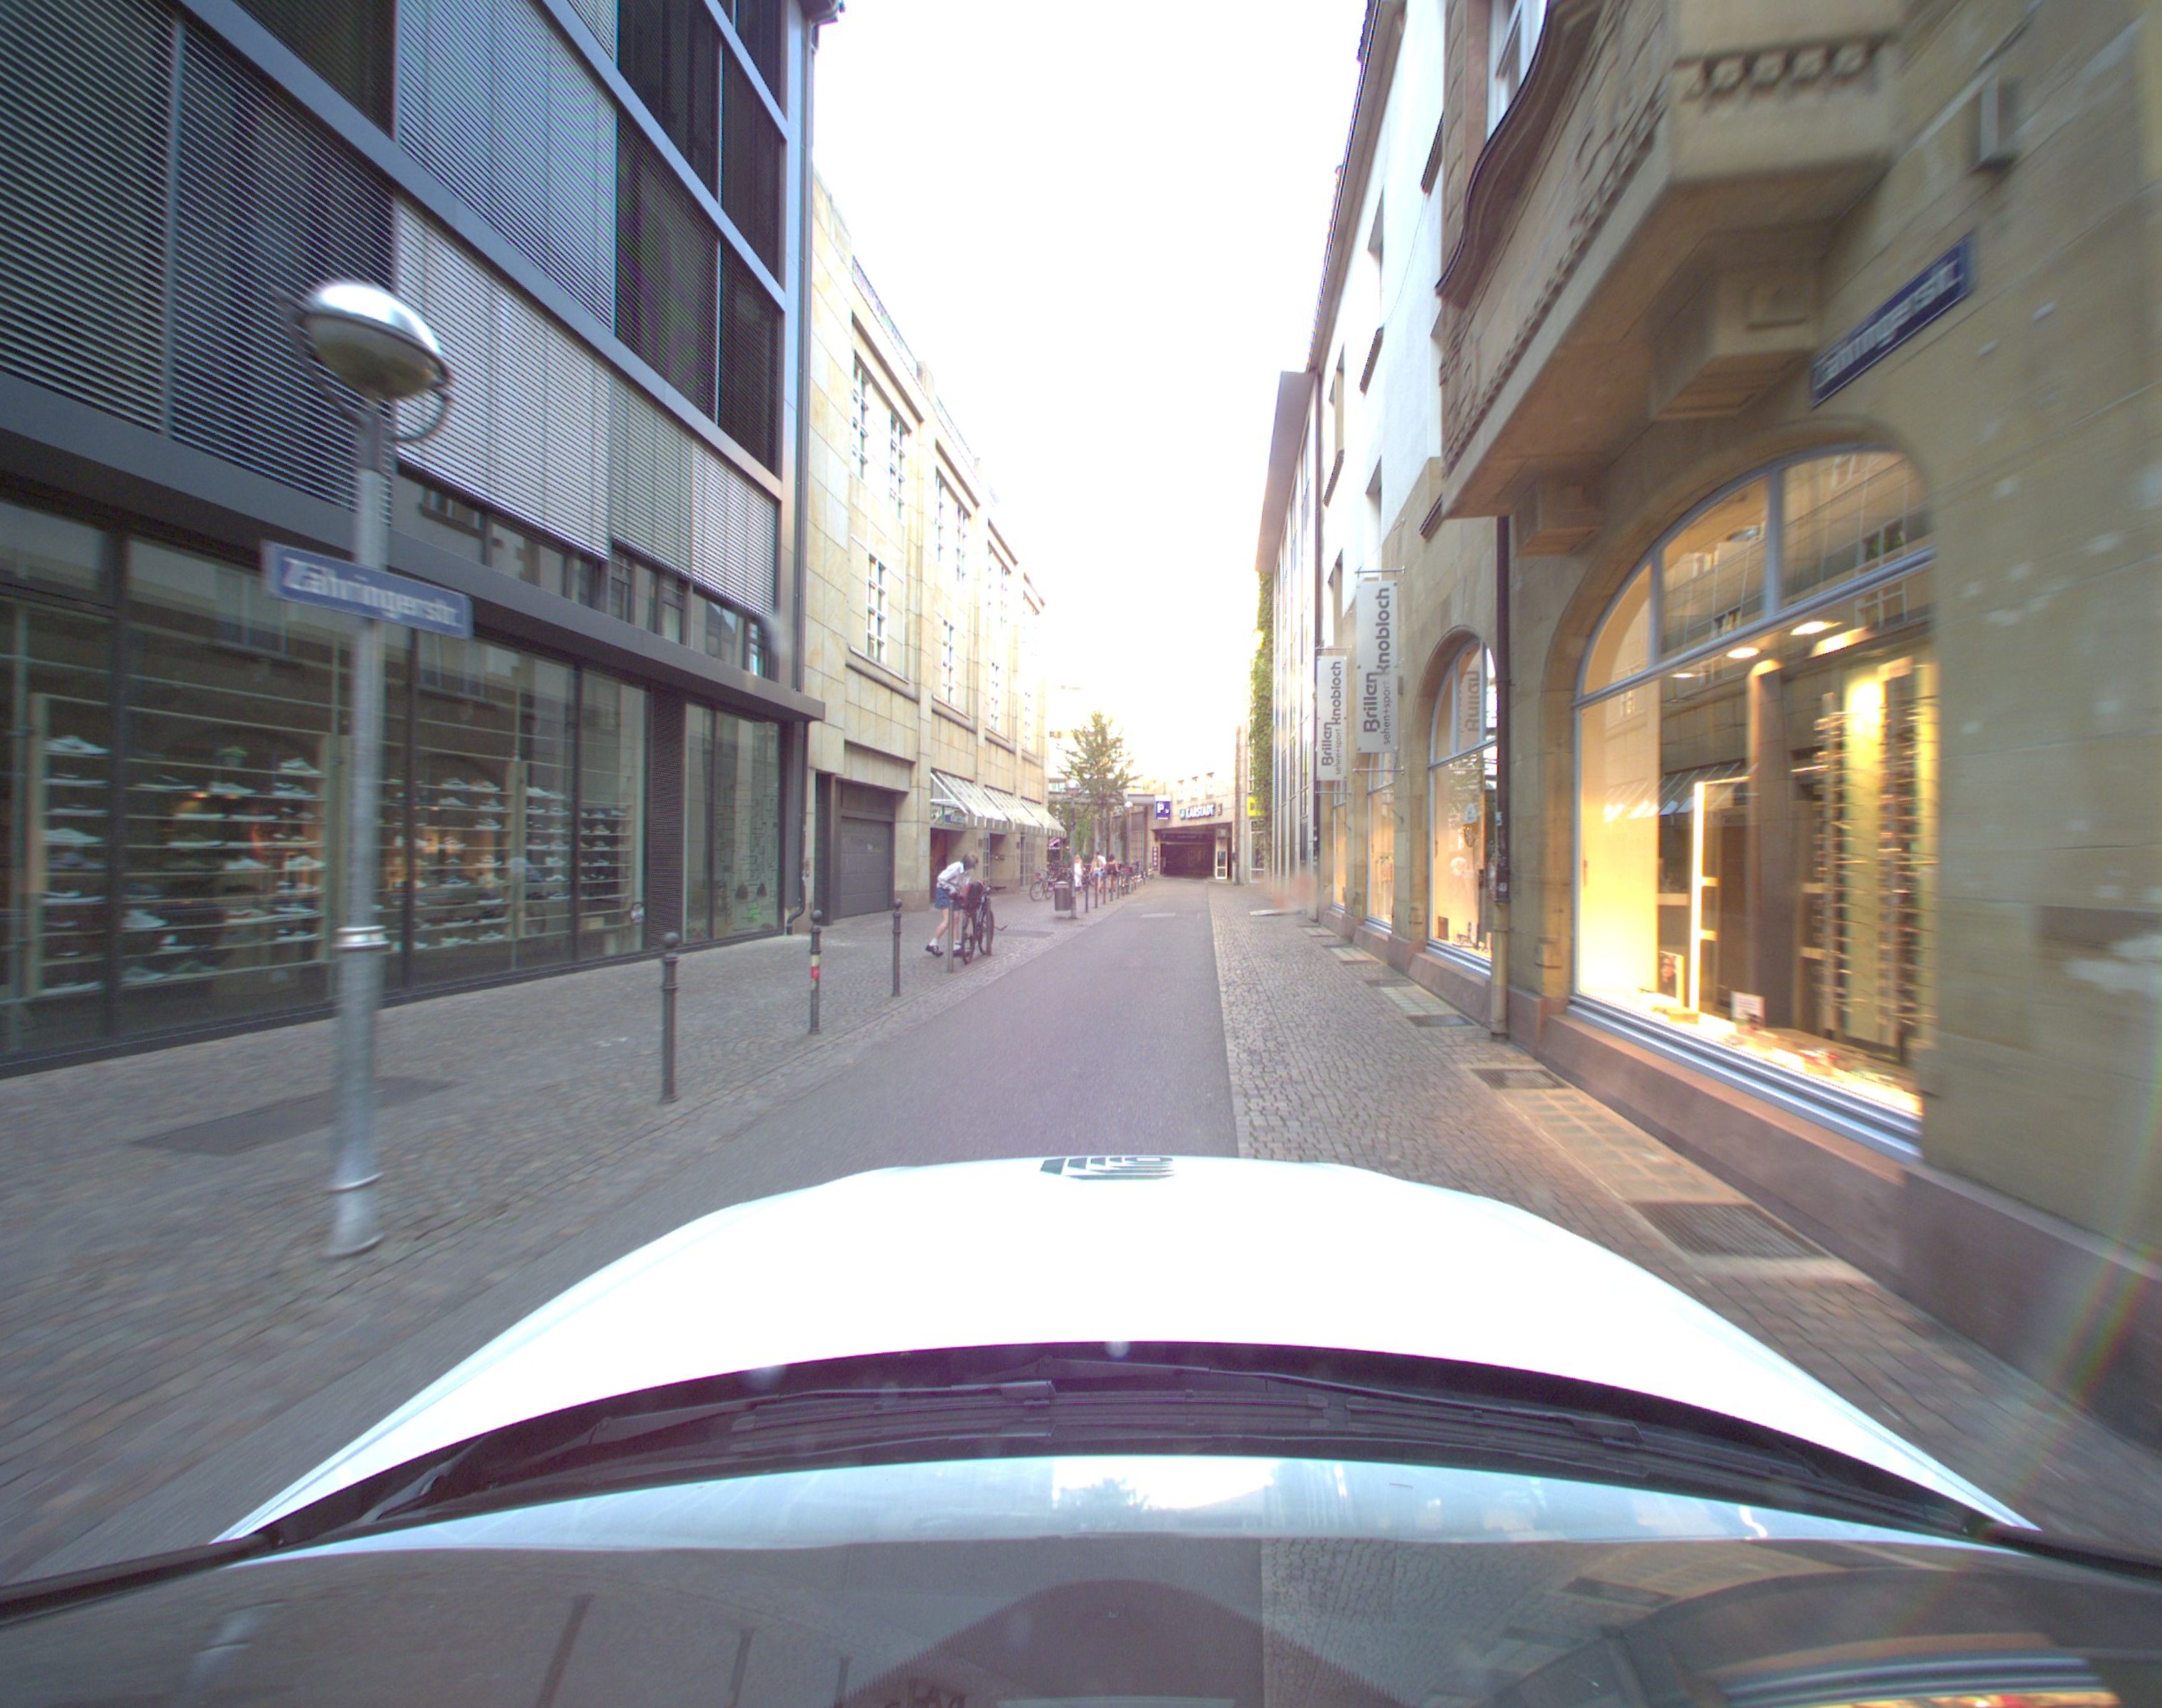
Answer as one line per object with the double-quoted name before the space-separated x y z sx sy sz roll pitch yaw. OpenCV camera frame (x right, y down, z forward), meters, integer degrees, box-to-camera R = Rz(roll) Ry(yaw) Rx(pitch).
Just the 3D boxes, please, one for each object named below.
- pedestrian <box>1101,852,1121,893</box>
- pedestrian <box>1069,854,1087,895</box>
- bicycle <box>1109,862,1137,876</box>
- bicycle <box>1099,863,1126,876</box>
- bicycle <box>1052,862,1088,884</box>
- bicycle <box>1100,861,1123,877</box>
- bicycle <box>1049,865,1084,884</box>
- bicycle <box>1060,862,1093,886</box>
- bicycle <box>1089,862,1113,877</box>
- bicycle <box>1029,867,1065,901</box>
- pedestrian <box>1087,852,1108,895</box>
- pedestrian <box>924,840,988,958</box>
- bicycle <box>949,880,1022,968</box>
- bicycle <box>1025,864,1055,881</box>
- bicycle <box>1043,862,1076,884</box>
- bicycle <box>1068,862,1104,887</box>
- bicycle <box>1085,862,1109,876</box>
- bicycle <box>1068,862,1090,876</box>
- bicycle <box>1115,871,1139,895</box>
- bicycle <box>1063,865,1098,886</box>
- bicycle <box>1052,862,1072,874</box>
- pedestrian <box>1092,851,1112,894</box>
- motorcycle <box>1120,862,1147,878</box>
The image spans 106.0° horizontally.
"pedestrian" 1.334 0.826 36.510 0.781 1.795 0.974 0 0 7
"pedestrian" -0.128 0.825 33.735 0.671 1.664 0.862 0 0 5
"bicycle" 2.830 1.021 55.459 1.850 0.982 0.461 0 -1 -13
"bicycle" 2.184 1.083 56.304 1.775 0.904 0.461 0 -1 -13
"bicycle" -0.604 1.046 45.144 1.875 1.177 0.531 -1 -1 -15
"bicycle" 2.149 1.046 57.380 1.541 1.049 0.573 0 -1 -13
"bicycle" -0.805 1.155 45.705 1.897 1.052 0.531 -1 -1 -15
"bicycle" -0.256 1.053 43.233 1.656 1.231 0.531 -1 -1 -15
"bicycle" 1.512 1.163 62.133 1.775 1.114 0.540 0 -1 -13
"bicycle" -1.165 1.045 28.658 0.517 1.138 1.774 -1 0 24
"pedestrian" 0.685 0.797 33.485 0.802 1.729 0.950 0 0 7
"pedestrian" -1.873 0.658 12.276 0.763 1.718 0.593 2 0 7
"bicycle" -1.393 0.996 12.225 0.529 1.153 1.920 2 0 10
"bicycle" -2.617 1.188 52.224 1.827 1.043 0.531 -1 -1 -15
"bicycle" -1.223 1.078 46.441 1.836 1.225 0.531 -1 -1 -15
"bicycle" 0.271 1.065 41.872 1.769 1.231 0.531 -1 -1 -15
"bicycle" 1.221 1.159 63.350 1.775 1.114 0.540 0 -1 -13
"bicycle" -0.182 1.246 66.891 1.775 1.114 0.540 0 -1 -13
"bicycle" 1.979 1.239 35.128 0.488 0.939 1.668 1 0 23
"bicycle" -0.017 1.165 44.102 1.839 1.122 0.531 -1 -1 -15
"bicycle" -1.709 1.249 72.928 1.773 1.114 0.541 0 -1 -10
"pedestrian" 0.909 0.779 35.081 0.738 1.822 0.880 0 -1 6
"motorcycle" 3.460 1.065 53.745 1.664 1.050 0.461 0 -1 -13
